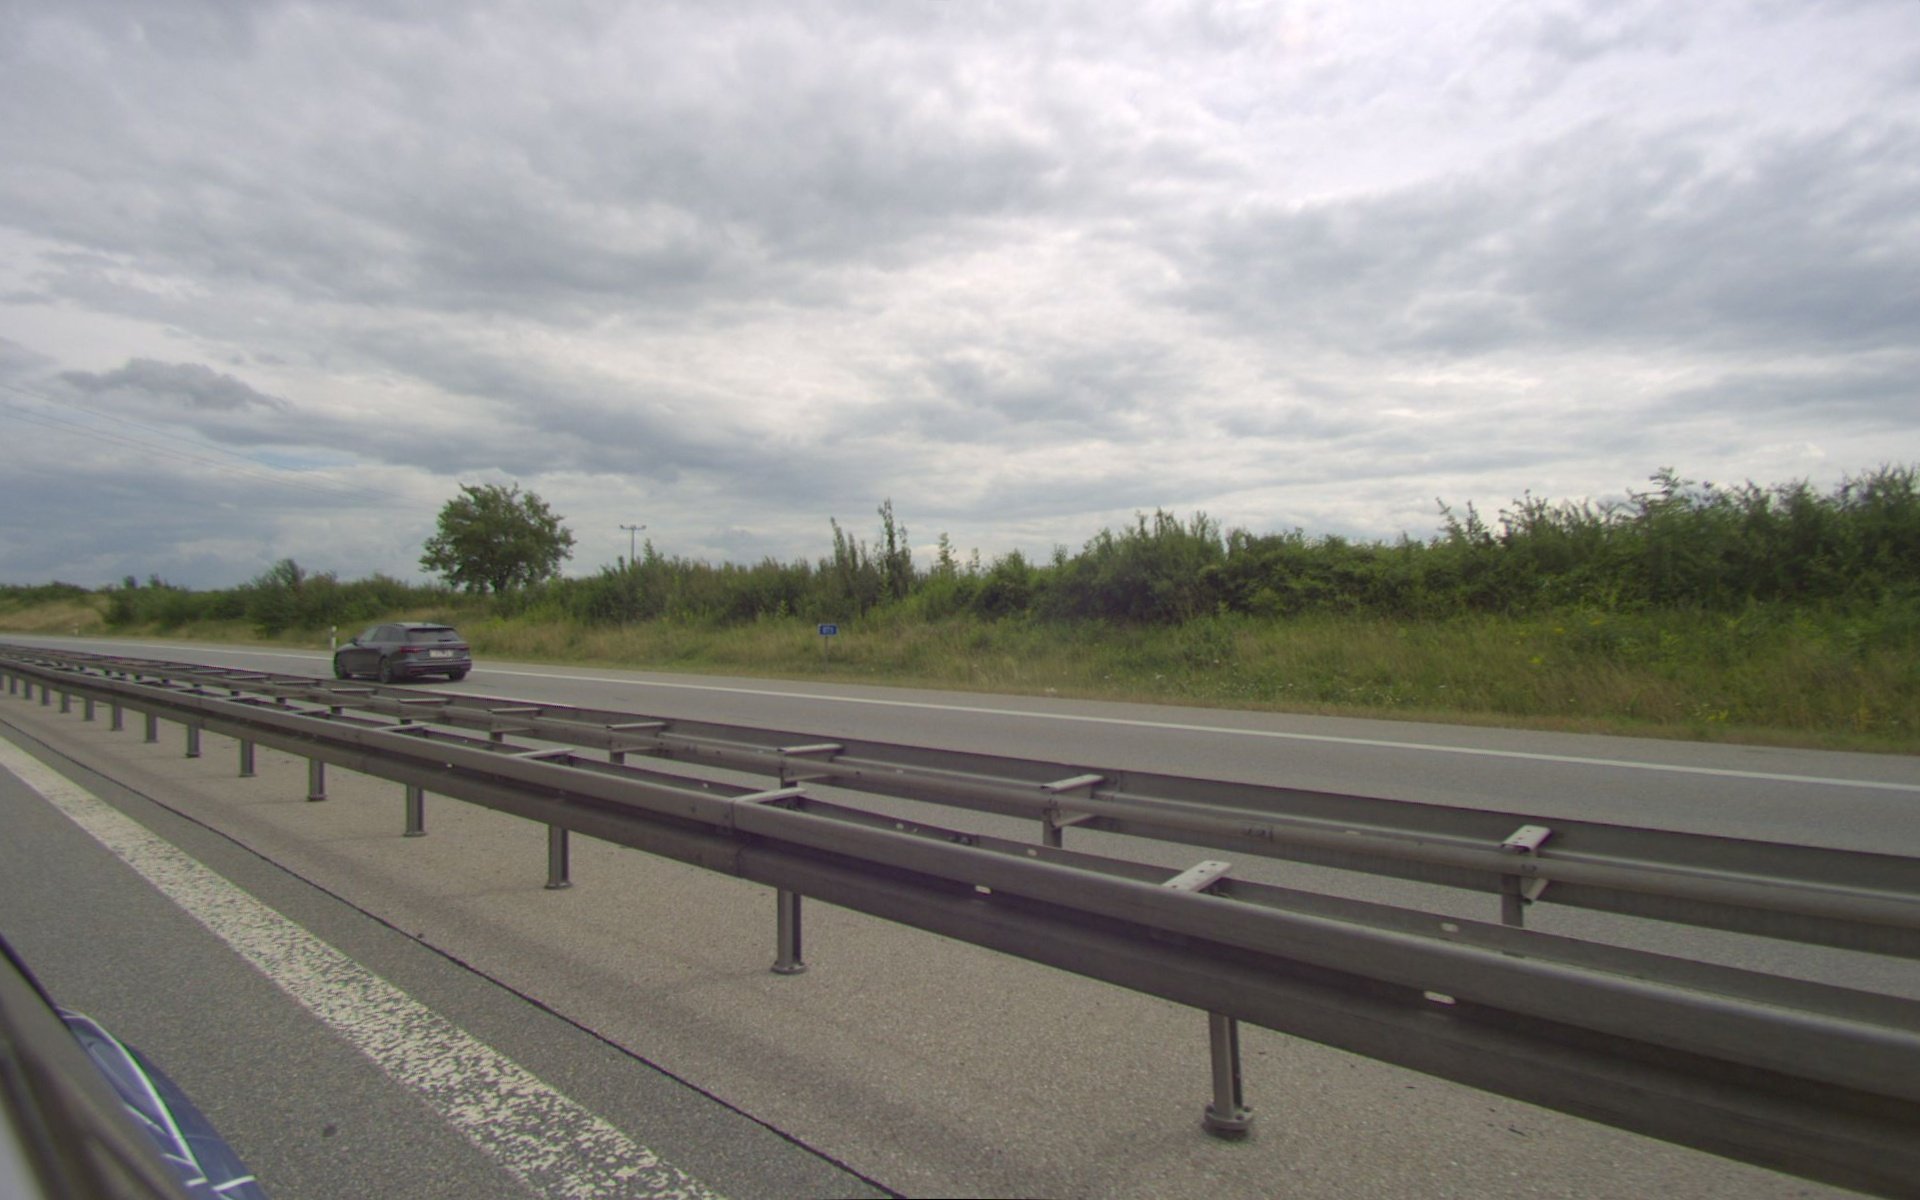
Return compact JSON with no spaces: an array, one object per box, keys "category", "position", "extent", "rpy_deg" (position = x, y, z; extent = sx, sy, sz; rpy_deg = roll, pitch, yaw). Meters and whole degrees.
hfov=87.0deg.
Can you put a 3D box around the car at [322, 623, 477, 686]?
[{"category":"car","position":[-13.810,1.271,24.812],"extent":[4.935,1.363,1.688],"rpy_deg":[-1,0,40]}]
